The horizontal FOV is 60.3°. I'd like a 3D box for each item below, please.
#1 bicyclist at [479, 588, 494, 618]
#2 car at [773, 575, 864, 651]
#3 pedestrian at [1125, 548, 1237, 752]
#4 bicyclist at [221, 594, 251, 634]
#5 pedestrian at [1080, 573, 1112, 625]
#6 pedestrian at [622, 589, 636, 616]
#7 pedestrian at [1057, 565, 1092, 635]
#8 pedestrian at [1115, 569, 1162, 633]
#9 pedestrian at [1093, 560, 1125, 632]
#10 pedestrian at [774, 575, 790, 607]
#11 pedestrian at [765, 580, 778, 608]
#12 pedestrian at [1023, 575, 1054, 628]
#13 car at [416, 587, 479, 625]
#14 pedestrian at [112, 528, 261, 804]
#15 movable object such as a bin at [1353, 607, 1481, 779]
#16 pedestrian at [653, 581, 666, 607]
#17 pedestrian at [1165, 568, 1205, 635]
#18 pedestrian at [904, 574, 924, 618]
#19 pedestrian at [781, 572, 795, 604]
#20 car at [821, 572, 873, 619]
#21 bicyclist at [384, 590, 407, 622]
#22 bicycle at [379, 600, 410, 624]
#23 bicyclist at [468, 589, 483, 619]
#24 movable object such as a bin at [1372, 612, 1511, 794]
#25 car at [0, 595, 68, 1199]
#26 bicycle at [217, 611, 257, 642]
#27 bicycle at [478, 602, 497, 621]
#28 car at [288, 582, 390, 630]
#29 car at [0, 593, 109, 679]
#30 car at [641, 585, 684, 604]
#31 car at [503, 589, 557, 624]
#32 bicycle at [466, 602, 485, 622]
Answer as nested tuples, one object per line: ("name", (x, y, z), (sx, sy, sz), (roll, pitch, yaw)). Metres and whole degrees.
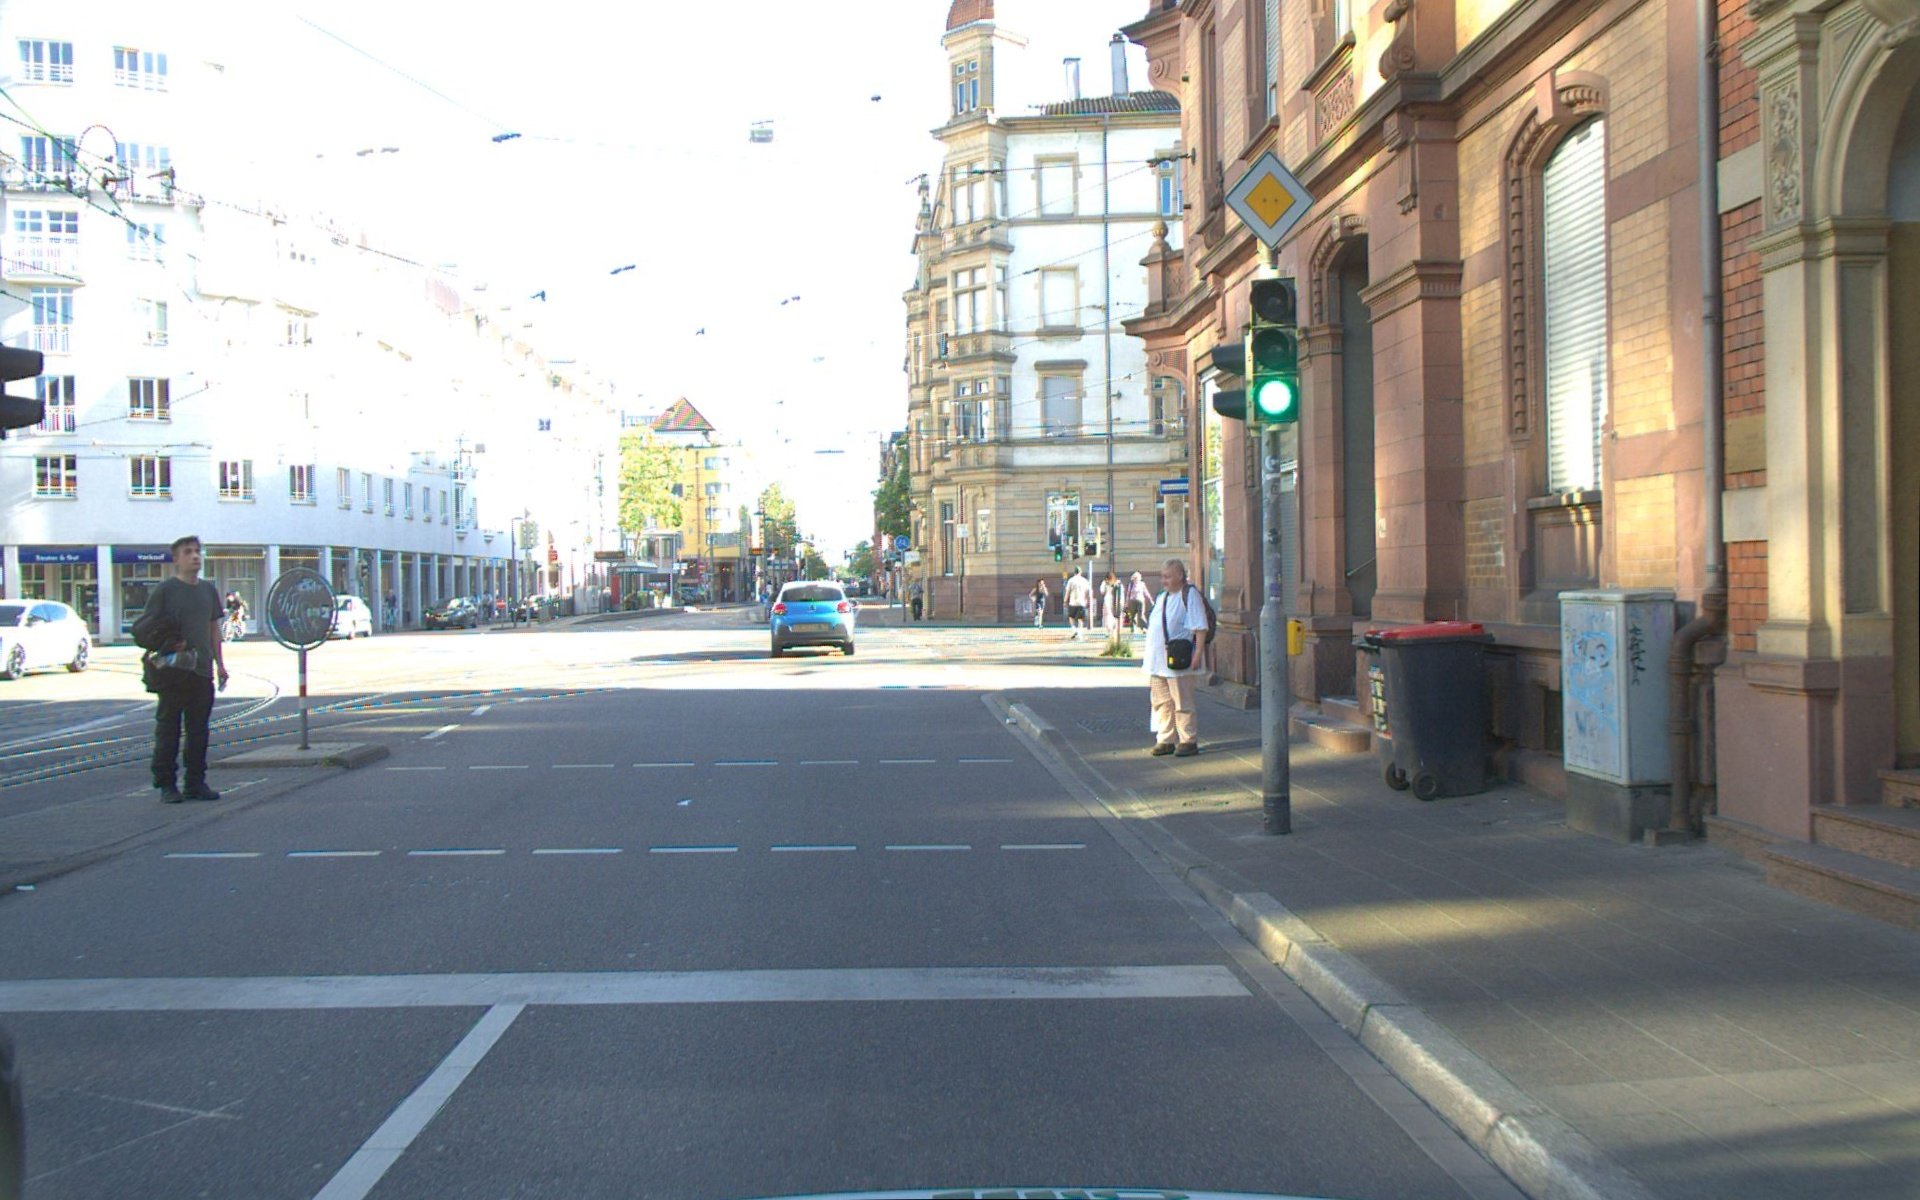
("bicyclist", (-25.087, 0.160, 87.602), (0.577, 1.613, 0.895), (-1, -1, -6))
("car", (-2.864, 0.235, 34.052), (1.745, 1.476, 3.652), (1, 1, -3))
("pedestrian", (1.839, 0.400, 13.822), (0.670, 1.635, 0.728), (-1, 0, -16))
("bicyclist", (-24.026, 0.453, 54.887), (0.577, 1.308, 0.926), (-1, 0, -3))
("pedestrian", (4.164, -0.038, 50.755), (0.620, 1.564, 0.940), (-2, -1, 28))
("pedestrian", (-19.489, 0.146, 97.501), (0.717, 1.554, 0.742), (-1, 1, -5))
("pedestrian", (2.824, 0.004, 40.874), (0.686, 1.683, 0.632), (-2, -1, 18))
("pedestrian", (4.728, 0.031, 43.756), (0.904, 1.660, 0.940), (-2, -1, 28))
("pedestrian", (3.676, -0.095, 40.830), (0.630, 1.775, 0.705), (0, -1, 18))
("pedestrian", (-10.283, -0.514, 95.507), (0.704, 1.808, 0.564), (-1, 1, 32))
("pedestrian", (-10.838, -0.344, 95.025), (0.574, 1.589, 0.468), (-1, 1, 32))
("pedestrian", (2.478, 0.050, 52.243), (0.903, 1.660, 0.942), (-1, -1, 5))
("car", (-23.549, 0.275, 76.080), (1.955, 1.624, 3.995), (-1, 0, -6))
("pedestrian", (-5.294, 0.429, 11.366), (0.547, 1.794, 0.894), (-3, 1, -4))
("movable object such as a bin", (3.117, 0.624, 11.307), (0.650, 1.091, 0.545), (-4, 0, -2))
("pedestrian", (-18.759, -0.363, 103.229), (0.717, 1.586, 0.742), (-1, 1, -5))
("pedestrian", (5.678, 0.041, 41.769), (0.902, 1.660, 1.010), (-2, -1, 11))
("pedestrian", (-1.942, -0.173, 69.843), (0.765, 1.780, 1.092), (-1, 2, -6))
("pedestrian", (-9.427, -0.645, 90.551), (0.623, 1.727, 0.934), (0, -1, 4))
("car", (-4.397, -0.144, 64.619), (1.954, 1.773, 3.997), (1, 0, -3))
("bicyclist", (-23.656, 0.252, 69.295), (0.576, 1.308, 0.992), (-1, 0, 2))
("bicycle", (-23.690, 0.496, 69.258), (0.581, 0.989, 1.855), (-1, 0, 2))
("bicyclist", (-24.845, 0.206, 84.808), (0.577, 1.514, 0.926), (-1, -1, -6))
("movable object such as a bin", (3.112, 0.649, 10.729), (0.650, 1.091, 0.591), (-4, 1, -1))
("car", (-2.512, 0.728, 1.120), (1.774, 1.448, 4.151), (1, 0, -4))
("bicycle", (-24.006, 0.870, 54.952), (0.582, 0.989, 1.816), (-1, 0, -3))
("bicycle", (-25.073, 0.617, 87.747), (0.582, 0.989, 2.045), (-1, 0, -6))
("car", (-20.683, 0.175, 55.288), (1.955, 1.477, 4.645), (-1, 1, -5))
("car", (-18.056, 0.646, 31.195), (1.955, 1.477, 4.497), (-1, 1, -5))
("car", (-28.771, -0.558, 160.042), (3.911, 1.703, 1.955), (-1, 1, -7))
("car", (-24.457, 0.352, 94.220), (2.183, 1.944, 4.605), (-1, 0, -4))
("bicycle", (-24.835, 0.631, 84.790), (0.582, 0.989, 2.009), (-1, 0, -6))
